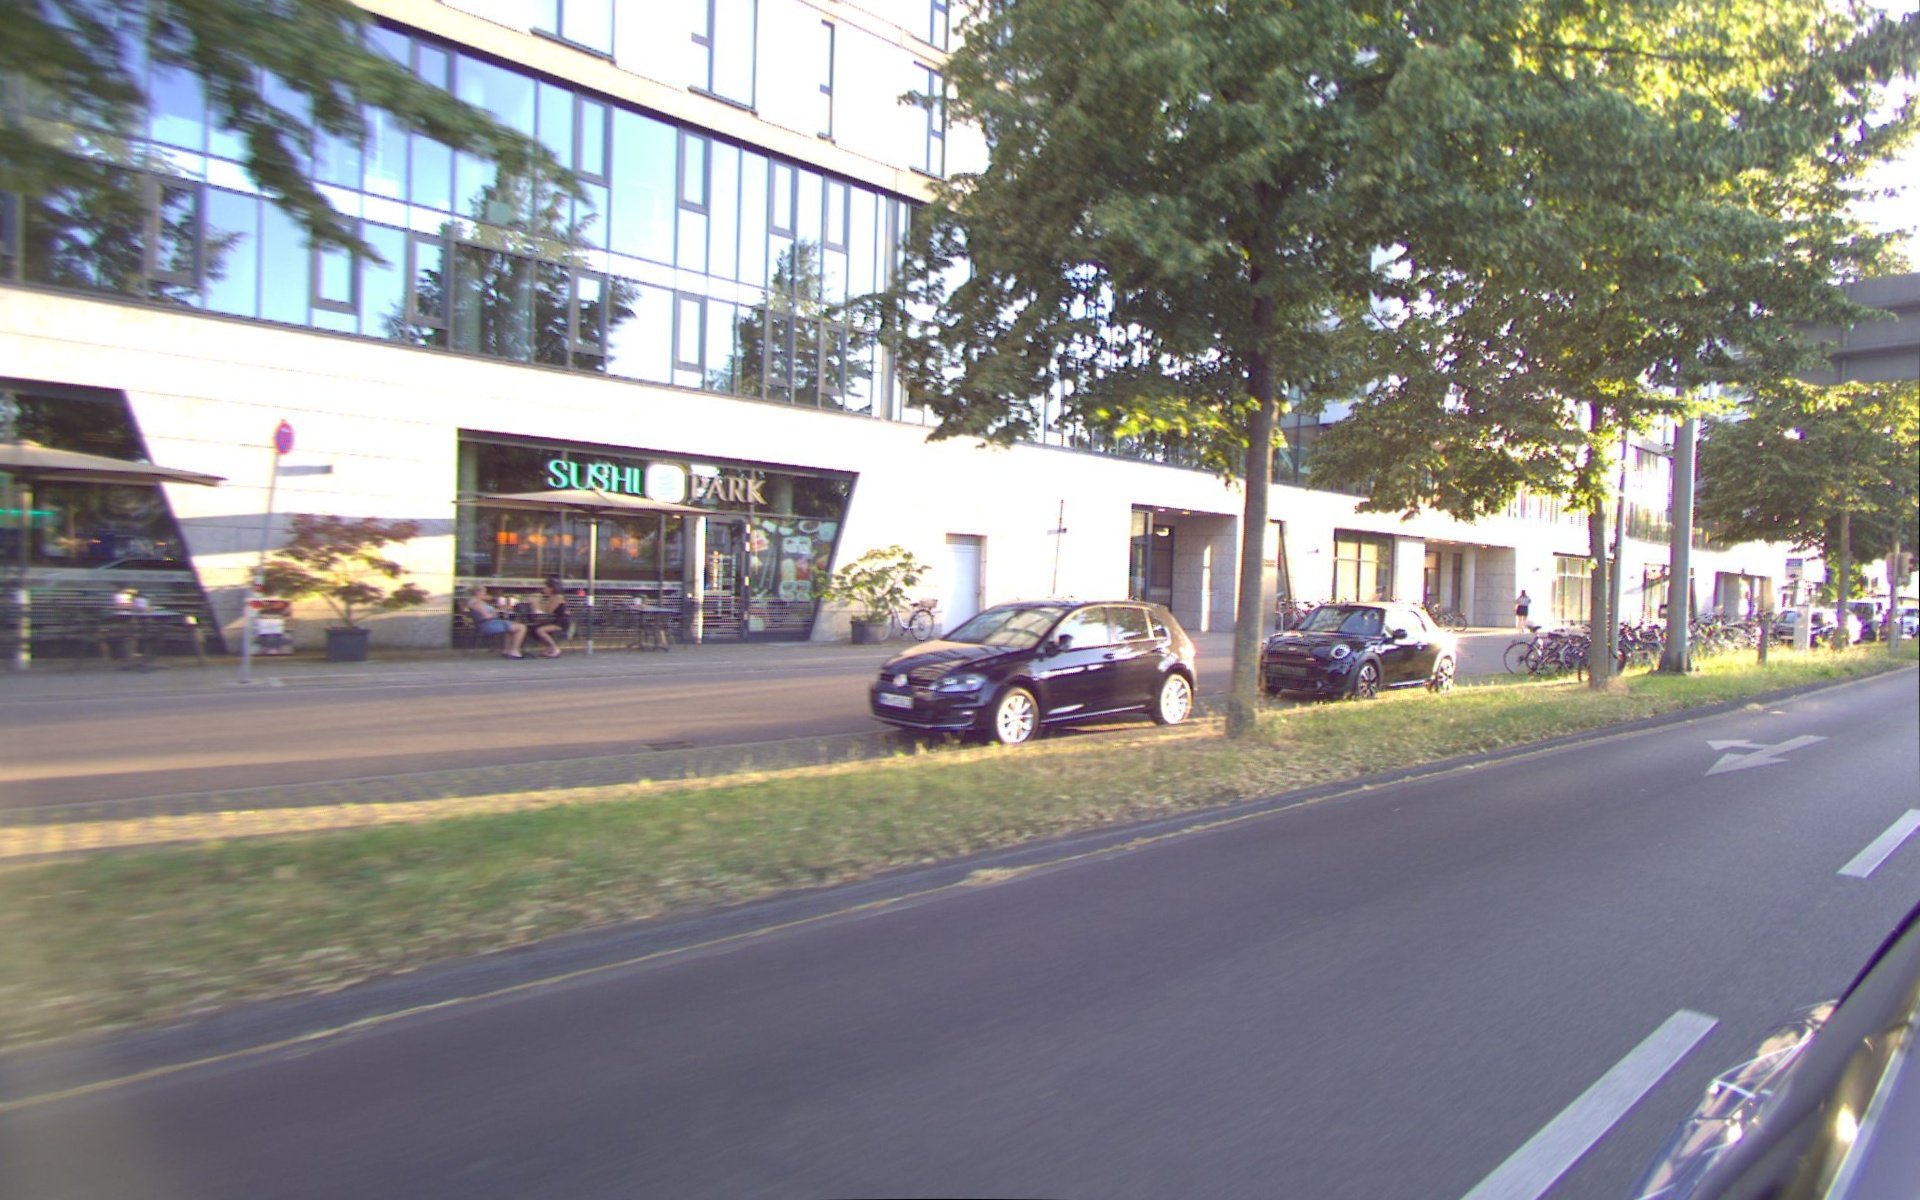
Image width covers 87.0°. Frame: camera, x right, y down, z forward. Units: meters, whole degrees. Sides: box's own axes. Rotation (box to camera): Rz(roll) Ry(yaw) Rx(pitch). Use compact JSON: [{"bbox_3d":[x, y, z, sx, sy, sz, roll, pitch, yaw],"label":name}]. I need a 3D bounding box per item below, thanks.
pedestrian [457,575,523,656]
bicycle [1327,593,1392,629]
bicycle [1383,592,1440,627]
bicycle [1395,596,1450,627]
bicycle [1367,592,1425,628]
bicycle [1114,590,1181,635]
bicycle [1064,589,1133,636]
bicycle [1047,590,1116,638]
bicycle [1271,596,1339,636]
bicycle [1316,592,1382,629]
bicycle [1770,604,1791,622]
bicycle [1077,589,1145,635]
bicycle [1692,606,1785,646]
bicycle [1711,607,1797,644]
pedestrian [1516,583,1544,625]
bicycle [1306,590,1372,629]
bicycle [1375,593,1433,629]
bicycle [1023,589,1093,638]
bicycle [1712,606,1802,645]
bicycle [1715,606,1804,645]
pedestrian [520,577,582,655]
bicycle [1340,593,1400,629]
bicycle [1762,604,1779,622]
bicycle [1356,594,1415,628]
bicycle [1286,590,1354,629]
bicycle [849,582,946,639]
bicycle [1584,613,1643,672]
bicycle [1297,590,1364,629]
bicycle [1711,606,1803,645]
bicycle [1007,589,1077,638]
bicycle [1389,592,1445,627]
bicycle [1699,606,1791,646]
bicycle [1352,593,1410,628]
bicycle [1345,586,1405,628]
[{"bbox_3d":[-7.354,0.232,15.839,0.792,1.210,0.573,1,1,-40],"label":"pedestrian"},{"bbox_3d":[13.329,0.344,33.834,0.494,1.113,1.985,1,1,-42],"label":"bicycle"},{"bbox_3d":[16.257,0.330,36.468,0.437,1.192,1.835,1,1,-39],"label":"bicycle"},{"bbox_3d":[16.973,0.402,37.177,0.437,1.060,1.835,1,1,-39],"label":"bicycle"},{"bbox_3d":[15.385,0.352,35.735,0.494,1.192,1.833,1,1,-42],"label":"bicycle"},{"bbox_3d":[4.985,0.315,26.997,0.500,1.118,1.786,1,1,-44],"label":"bicycle"},{"bbox_3d":[3.499,0.300,25.693,0.500,1.118,1.786,1,1,-44],"label":"bicycle"},{"bbox_3d":[3.006,0.334,25.253,0.500,1.118,1.786,1,1,-44],"label":"bicycle"},{"bbox_3d":[10.701,0.469,31.407,0.494,1.156,1.985,1,1,-42],"label":"bicycle"},{"bbox_3d":[12.825,0.335,33.407,0.494,1.155,1.985,1,1,-42],"label":"bicycle"},{"bbox_3d":[50.641,0.809,62.437,1.858,1.052,0.596,1,1,-39],"label":"bicycle"},{"bbox_3d":[3.891,0.289,26.175,0.500,1.118,1.786,1,1,-44],"label":"bicycle"},{"bbox_3d":[21.202,0.712,27.602,1.941,1.067,0.402,-3,-3,43],"label":"bicycle"},{"bbox_3d":[23.416,0.758,29.874,1.936,1.067,0.538,-2,-3,36],"label":"bicycle"},{"bbox_3d":[22.648,0.155,40.214,0.937,1.669,0.644,1,1,-41],"label":"pedestrian"},{"bbox_3d":[12.355,0.297,33.063,0.494,1.197,1.985,1,1,-42],"label":"bicycle"},{"bbox_3d":[15.826,0.385,36.092,0.494,1.192,1.833,1,1,-42],"label":"bicycle"},{"bbox_3d":[2.377,0.318,24.769,0.500,1.118,1.786,1,1,-44],"label":"bicycle"},{"bbox_3d":[22.486,0.735,28.574,1.938,1.067,0.537,-2,-3,40],"label":"bicycle"},{"bbox_3d":[22.974,0.747,29.113,1.936,1.067,0.538,-2,-3,36],"label":"bicycle"},{"bbox_3d":[-6.630,0.250,16.415,0.792,1.210,0.573,1,1,-38],"label":"pedestrian"},{"bbox_3d":[13.859,0.347,34.250,0.494,1.135,1.833,1,1,-42],"label":"bicycle"},{"bbox_3d":[50.489,0.810,63.050,1.774,1.052,0.471,1,1,-39],"label":"bicycle"},{"bbox_3d":[14.874,0.372,35.397,0.494,1.127,1.833,1,1,-42],"label":"bicycle"},{"bbox_3d":[11.330,0.290,31.906,0.494,1.156,1.985,1,1,-42],"label":"bicycle"},{"bbox_3d":[-1.369,0.228,22.503,2.220,1.223,0.471,1,1,-37],"label":"bicycle"},{"bbox_3d":[11.655,0.745,18.040,1.813,0.992,0.319,1,1,-39],"label":"bicycle"},{"bbox_3d":[11.839,0.290,32.414,0.494,1.182,1.985,1,1,-42],"label":"bicycle"},{"bbox_3d":[22.093,0.718,28.070,1.941,1.067,0.536,-3,-3,43],"label":"bicycle"},{"bbox_3d":[1.957,0.308,24.421,0.500,1.118,1.786,1,1,-44],"label":"bicycle"},{"bbox_3d":[16.612,0.339,36.822,0.437,1.192,1.835,1,1,-39],"label":"bicycle"},{"bbox_3d":[21.576,0.725,27.840,1.941,1.067,0.402,-3,-3,43],"label":"bicycle"},{"bbox_3d":[14.560,0.347,35.026,0.366,1.138,1.833,1,1,-42],"label":"bicycle"},{"bbox_3d":[14.204,0.215,34.686,0.494,1.374,1.833,1,1,-42],"label":"bicycle"}]
